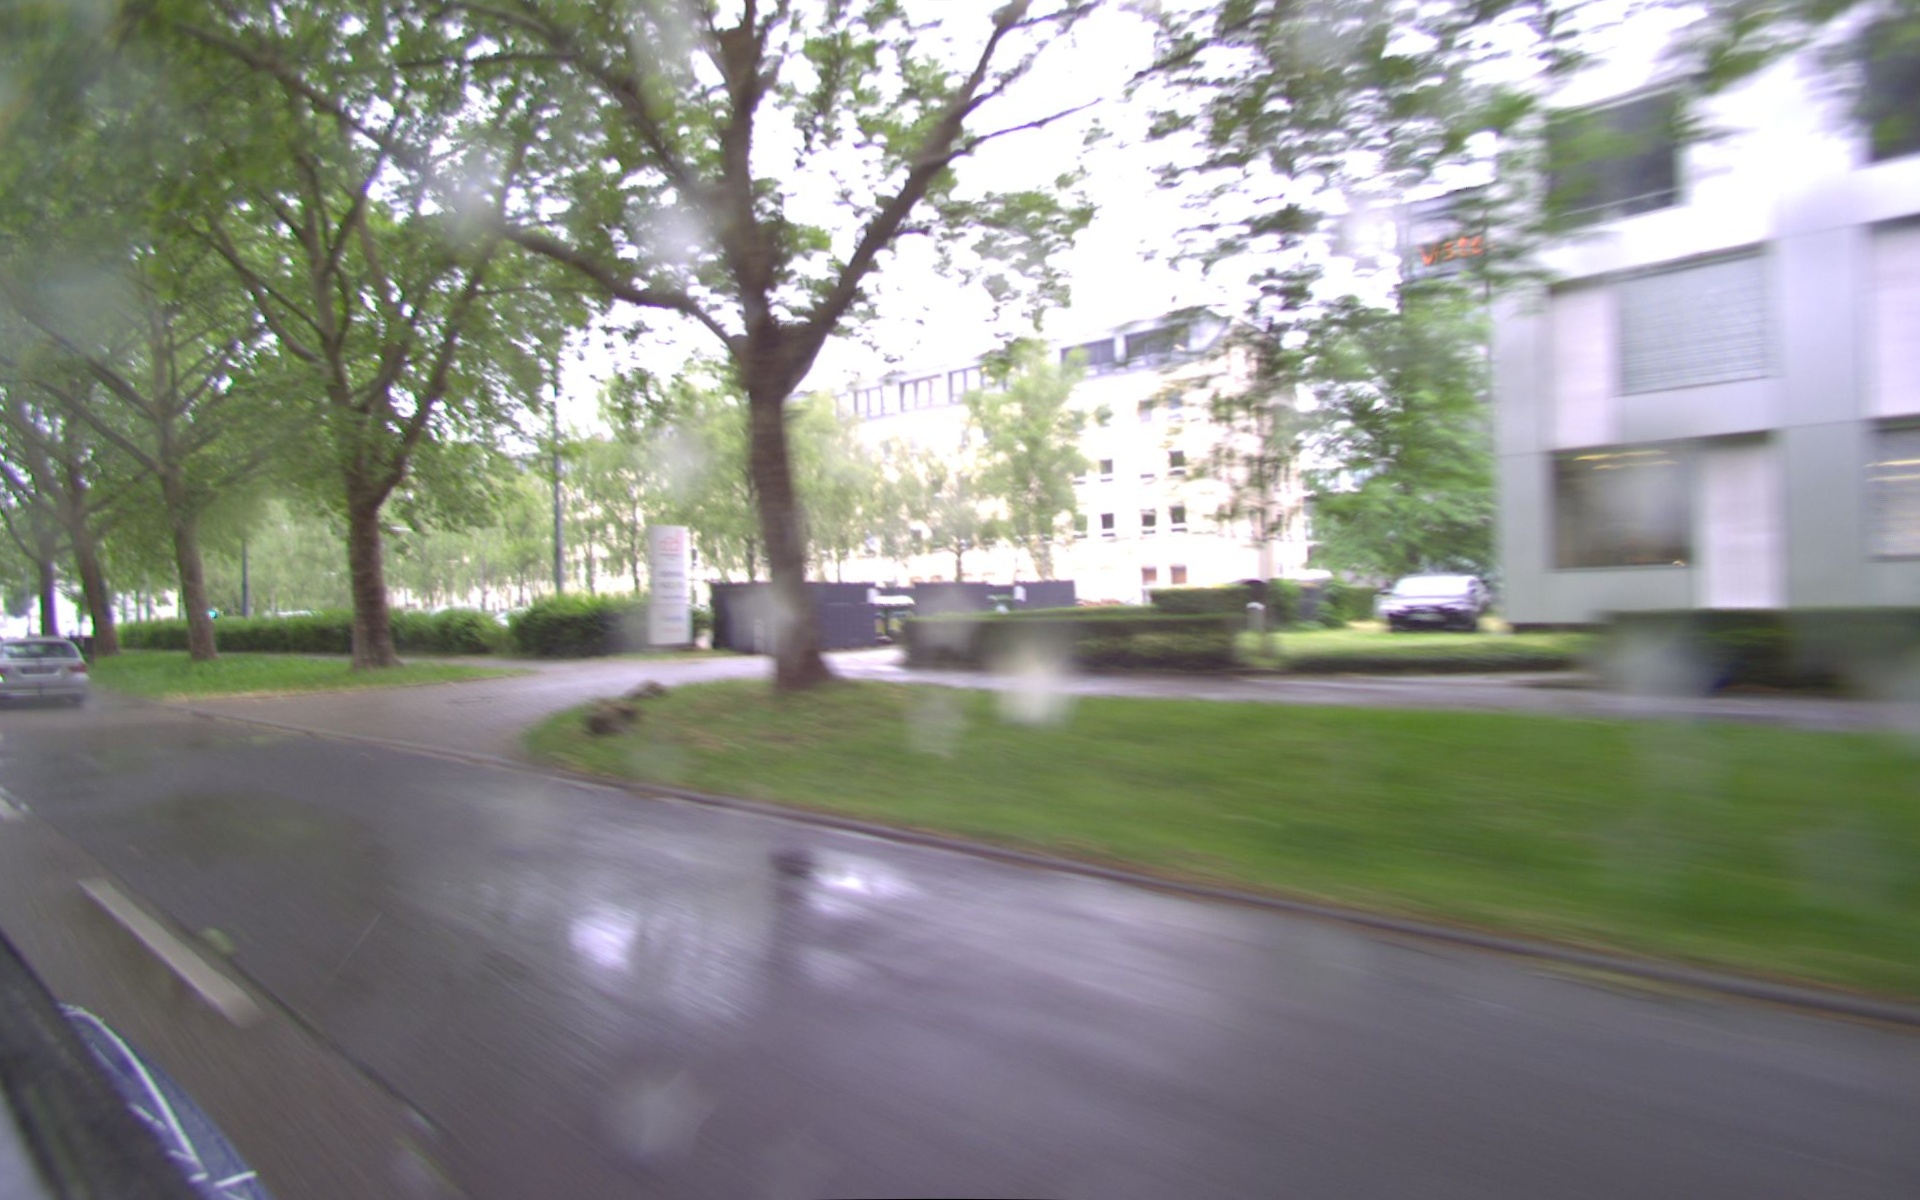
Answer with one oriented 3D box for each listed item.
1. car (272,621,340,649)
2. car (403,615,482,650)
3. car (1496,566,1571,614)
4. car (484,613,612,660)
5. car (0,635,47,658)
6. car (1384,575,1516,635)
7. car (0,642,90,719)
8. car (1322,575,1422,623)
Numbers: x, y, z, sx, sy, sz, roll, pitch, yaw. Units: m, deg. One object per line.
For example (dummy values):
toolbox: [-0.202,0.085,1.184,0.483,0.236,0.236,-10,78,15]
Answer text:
car: [-49.720,2.641,77.002,1.851,1.847,3.950,-3,0,37]
car: [-32.188,2.033,62.984,1.999,2.029,3.945,-3,-2,41]
car: [23.297,-0.423,41.047,1.909,1.740,4.030,-3,0,39]
car: [-15.181,1.367,37.449,1.997,1.606,3.949,-3,-3,38]
car: [-106.985,5.281,115.240,2.161,2.272,4.894,-3,0,-9]
car: [11.227,0.084,23.070,1.788,1.165,3.947,-3,0,40]
car: [-19.510,1.614,20.949,4.547,1.399,1.661,-3,-2,41]
car: [14.037,-0.048,34.373,1.998,1.431,4.030,-3,0,39]
